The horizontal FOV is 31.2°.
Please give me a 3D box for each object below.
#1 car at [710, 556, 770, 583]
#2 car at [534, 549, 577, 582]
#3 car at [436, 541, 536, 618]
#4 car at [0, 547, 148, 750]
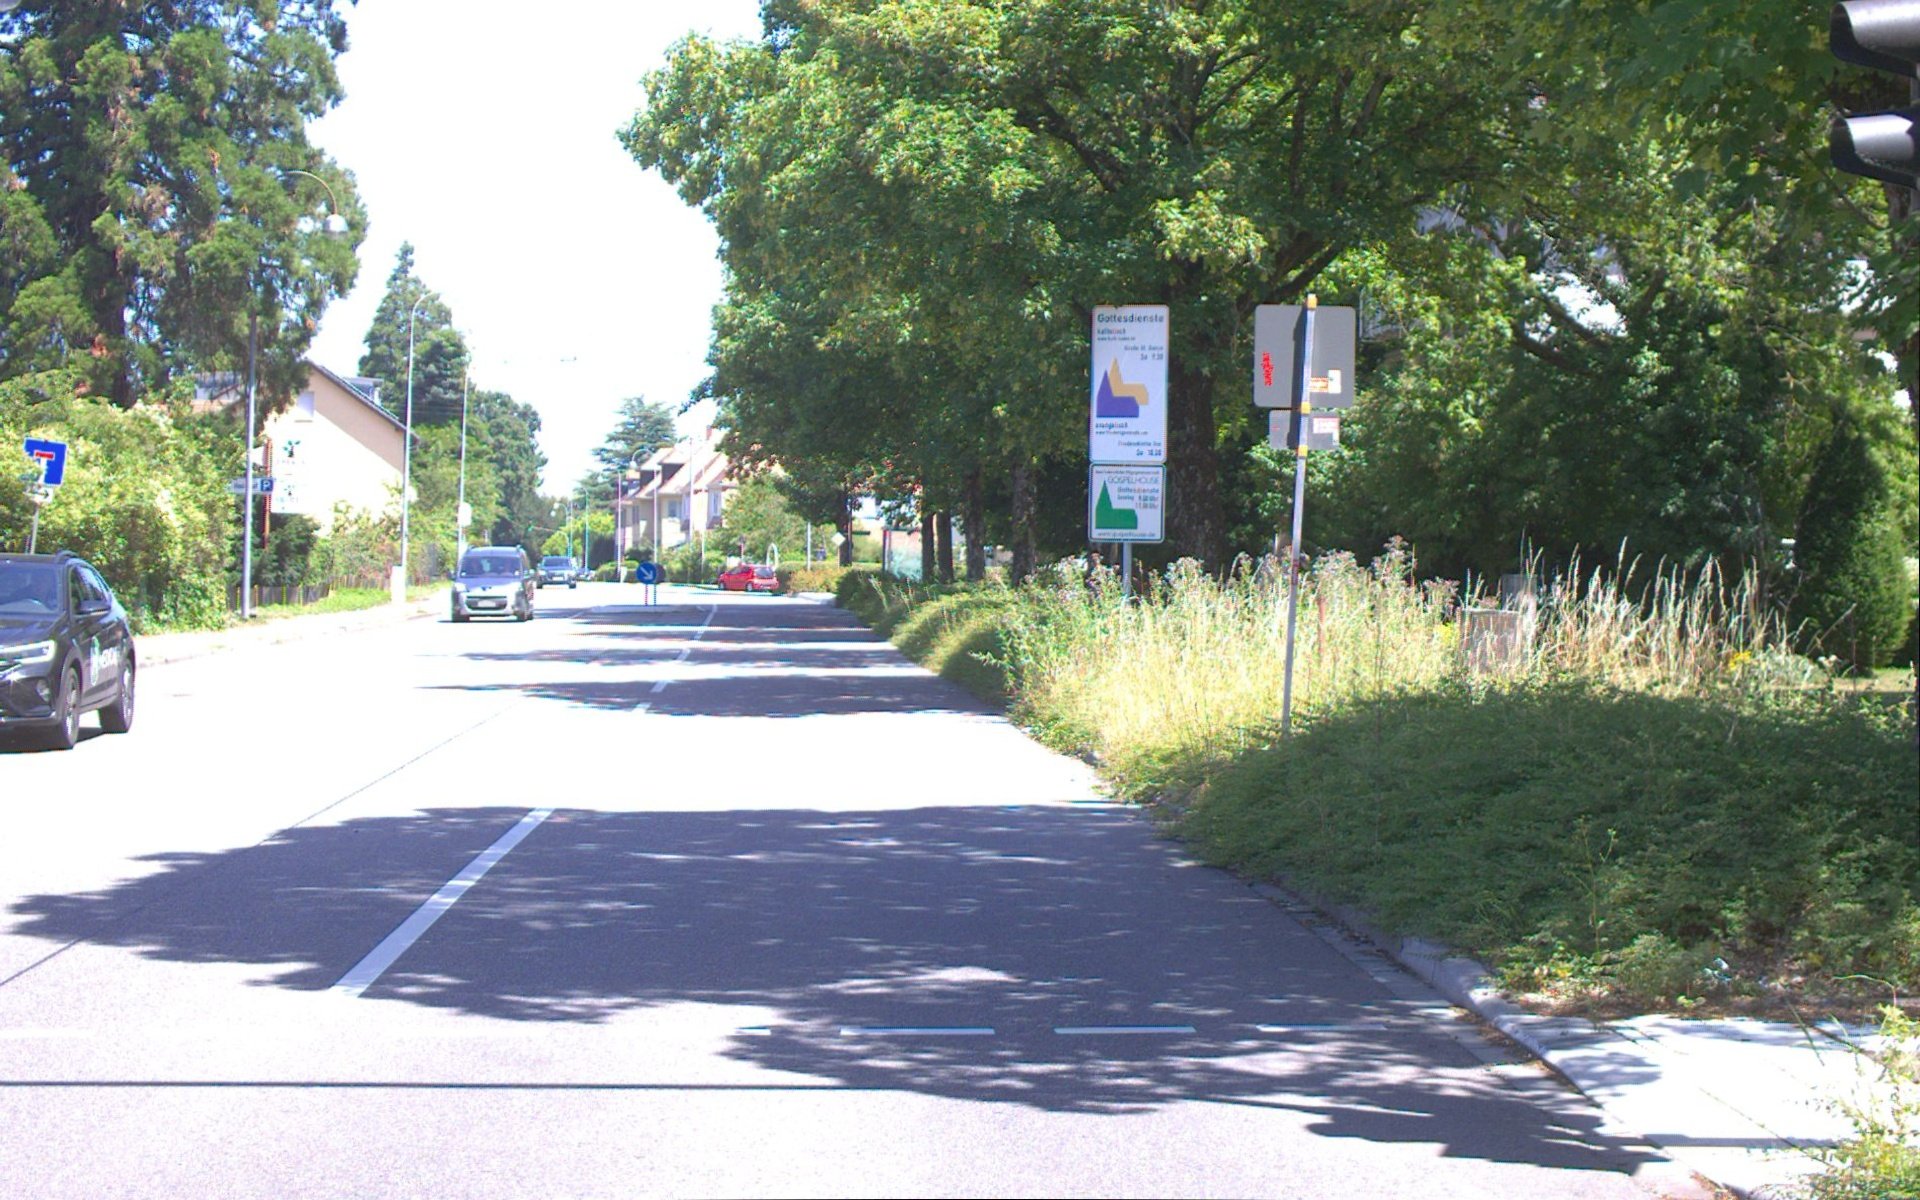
[{"bbox_3d":[-11.174,-1.553,174.202,1.943,1.355,4.465,0,1,-19],"label":"car"},{"bbox_3d":[-19.475,-1.678,165.563,1.793,1.531,4.316,0,1,-3],"label":"car"},{"bbox_3d":[-11.310,-0.523,82.215,1.811,1.756,4.570,1,1,-1],"label":"car"},{"bbox_3d":[-7.721,0.328,27.351,1.869,1.501,4.053,0,1,-5],"label":"car"}]
